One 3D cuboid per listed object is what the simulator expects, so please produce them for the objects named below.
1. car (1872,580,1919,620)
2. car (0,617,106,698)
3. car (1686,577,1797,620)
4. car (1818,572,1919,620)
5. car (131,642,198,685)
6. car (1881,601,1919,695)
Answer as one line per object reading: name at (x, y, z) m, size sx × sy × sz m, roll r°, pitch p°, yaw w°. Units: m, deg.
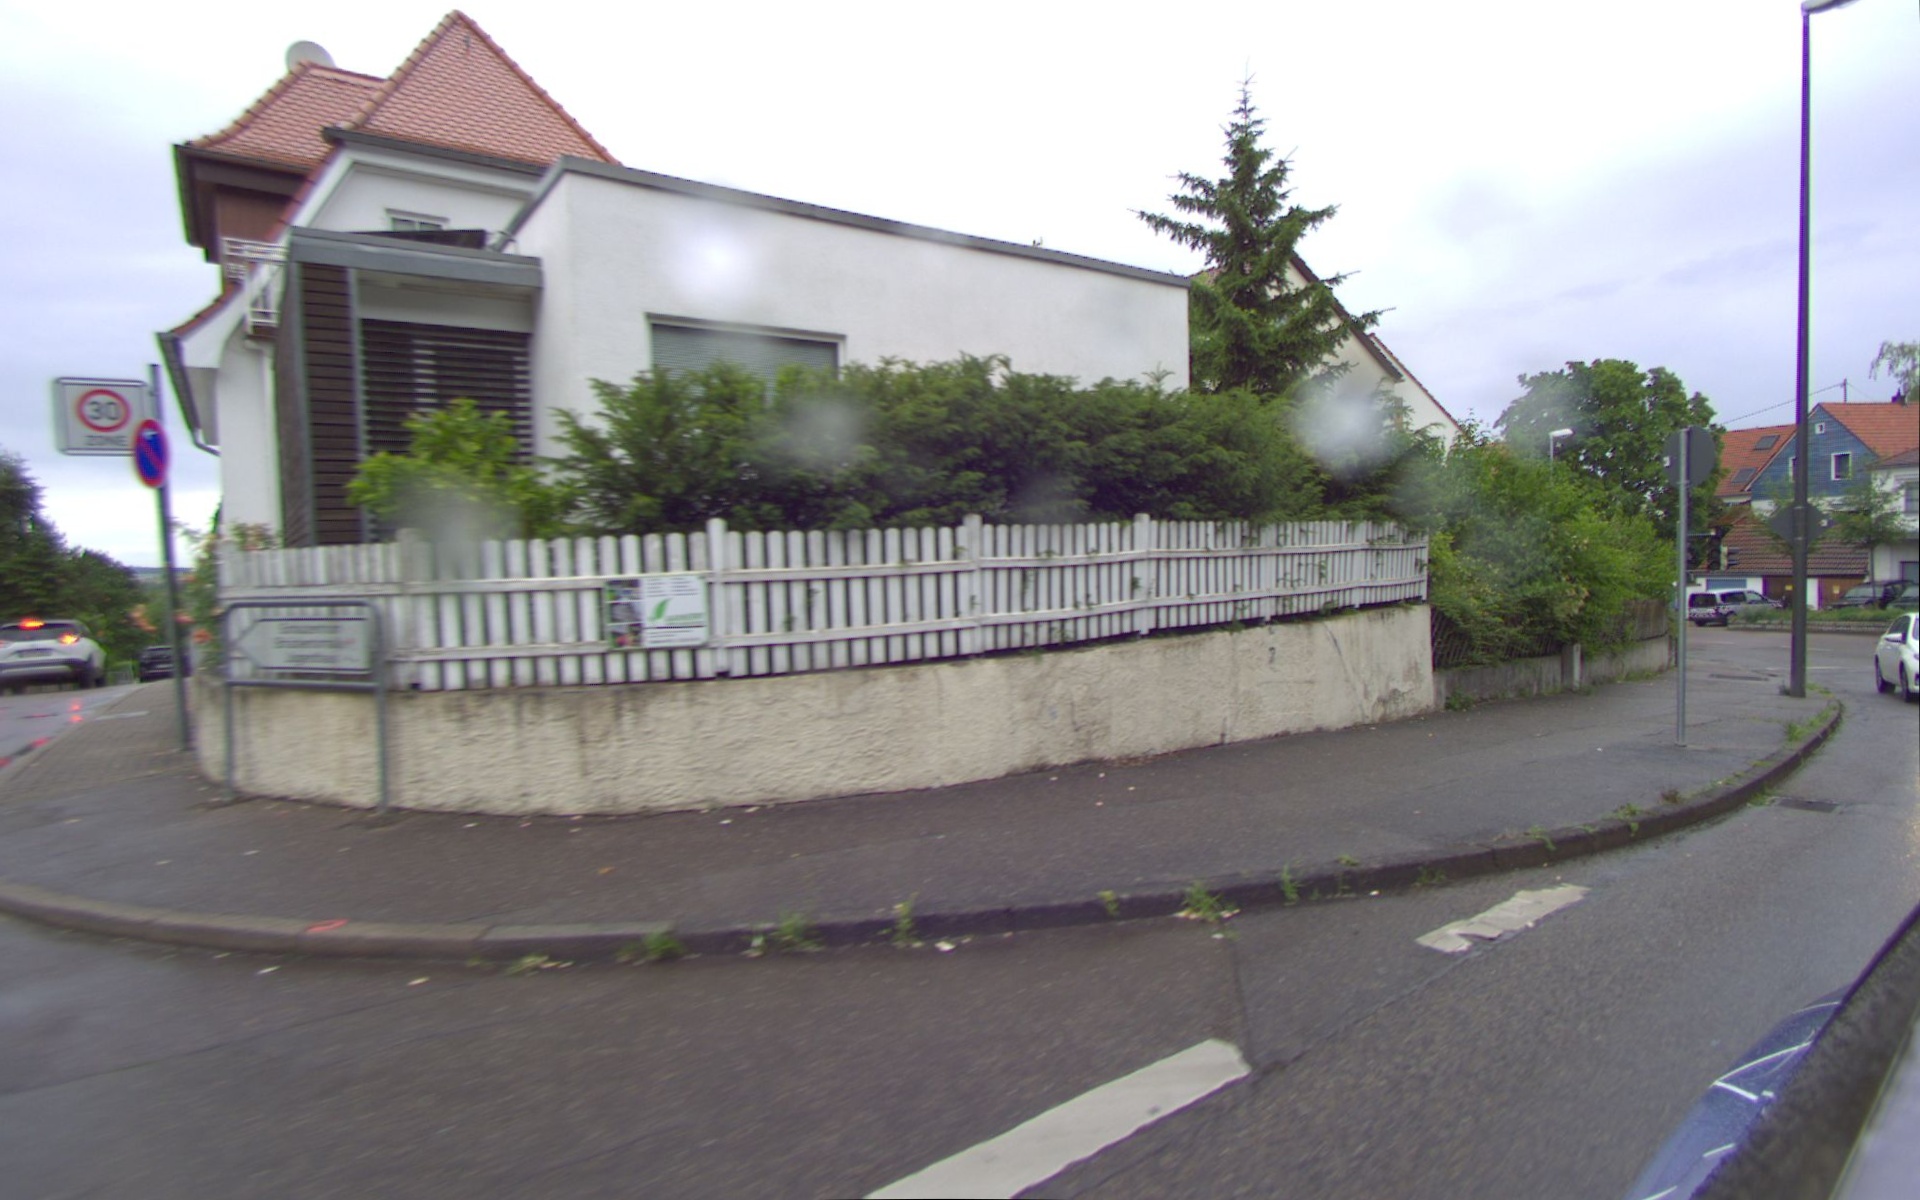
car at (40.139, -0.040, 42.189) m, size 3.277 × 1.504 × 1.842 m, roll -4°, pitch 0°, yaw -22°
car at (-20.685, 1.285, 22.932) m, size 1.764 × 1.597 × 3.996 m, roll -3°, pitch 0°, yaw -37°
car at (38.737, -0.070, 50.205) m, size 4.036 × 1.822 × 2.003 m, roll -4°, pitch 0°, yaw -9°
car at (40.190, -0.174, 44.579) m, size 4.006 × 1.796 × 1.802 m, roll -4°, pitch 0°, yaw -20°
car at (-35.122, 2.758, 44.783) m, size 1.962 × 1.683 × 3.999 m, roll -3°, pitch 0°, yaw -34°
car at (16.912, 0.750, 16.845) m, size 1.848 × 1.453 × 3.965 m, roll -2°, pitch -1°, yaw 36°
